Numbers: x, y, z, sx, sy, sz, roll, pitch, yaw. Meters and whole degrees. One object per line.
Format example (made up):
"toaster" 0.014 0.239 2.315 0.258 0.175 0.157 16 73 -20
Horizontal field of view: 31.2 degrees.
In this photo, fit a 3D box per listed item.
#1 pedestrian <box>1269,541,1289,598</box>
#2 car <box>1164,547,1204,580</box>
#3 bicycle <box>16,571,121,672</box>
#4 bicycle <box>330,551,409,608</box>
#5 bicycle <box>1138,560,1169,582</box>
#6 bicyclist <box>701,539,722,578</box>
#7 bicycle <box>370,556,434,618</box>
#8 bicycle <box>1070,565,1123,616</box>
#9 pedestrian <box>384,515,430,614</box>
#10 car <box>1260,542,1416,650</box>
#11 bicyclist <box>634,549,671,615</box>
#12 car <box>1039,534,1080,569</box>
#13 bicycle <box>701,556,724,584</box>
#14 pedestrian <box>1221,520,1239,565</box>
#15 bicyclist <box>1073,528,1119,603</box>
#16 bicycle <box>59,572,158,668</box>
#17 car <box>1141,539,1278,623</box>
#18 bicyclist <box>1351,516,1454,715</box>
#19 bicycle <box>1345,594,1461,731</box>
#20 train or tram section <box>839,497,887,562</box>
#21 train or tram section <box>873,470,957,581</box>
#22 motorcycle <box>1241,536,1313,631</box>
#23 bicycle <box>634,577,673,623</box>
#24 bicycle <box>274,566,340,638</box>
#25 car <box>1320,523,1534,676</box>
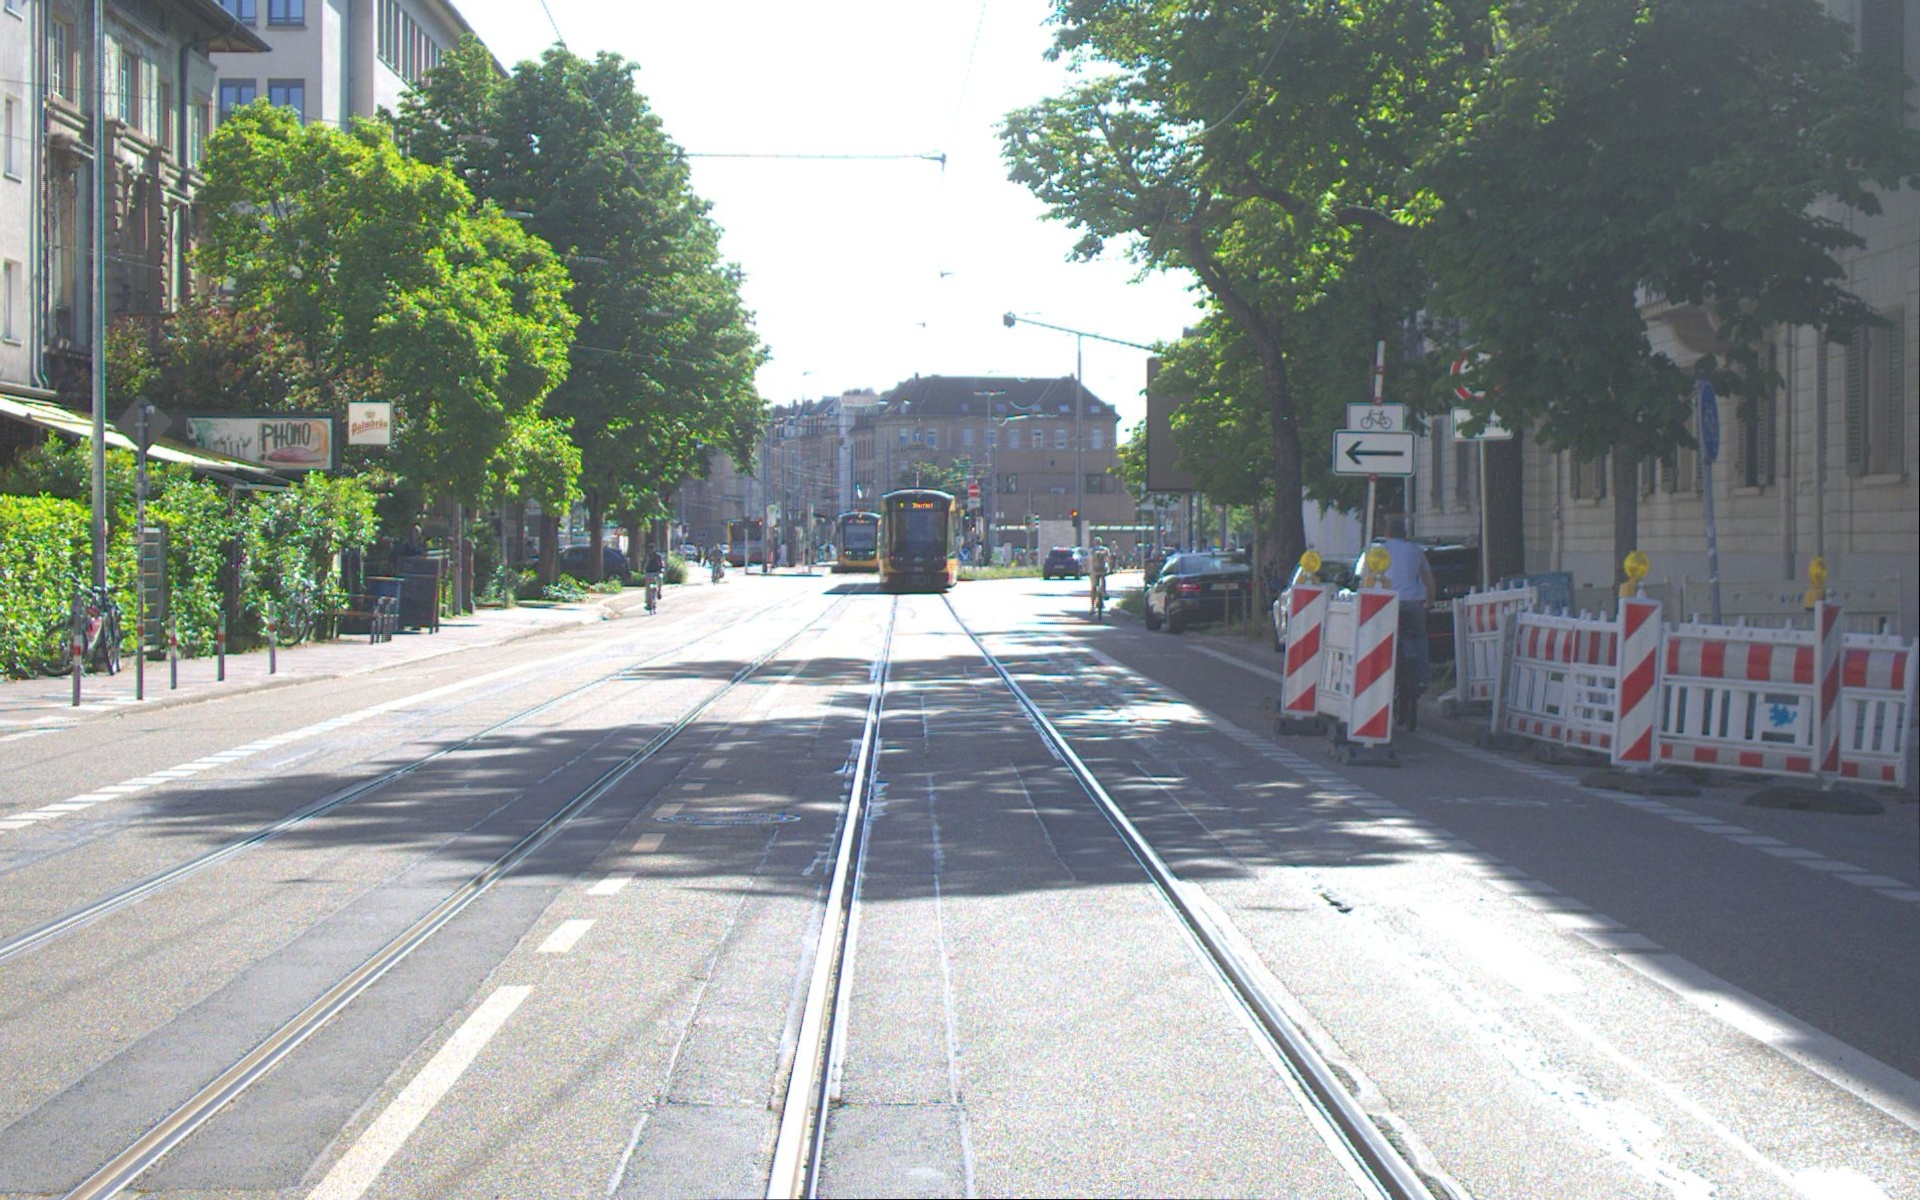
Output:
"pedestrian" 8.866 -0.855 95.660 0.518 1.595 0.764 0 1 2
"car" 10.812 -1.761 166.022 1.789 1.506 3.712 2 1 2
"bicycle" -10.071 0.234 38.883 0.661 1.086 1.840 3 0 0
"bicycle" -11.019 -0.392 64.190 0.637 1.042 2.020 1 1 16
"bicycle" 9.461 -1.424 168.098 0.706 1.051 2.311 3 2 24
"bicyclist" -10.516 -1.764 145.760 0.687 1.639 1.237 -2 1 3
"bicycle" -10.678 -0.260 65.790 0.646 1.139 1.904 3 1 7
"bicycle" 3.087 -0.227 77.819 0.705 1.101 1.715 2 2 19
"pedestrian" -10.280 -0.663 63.923 0.576 1.825 0.689 1 1 18
"car" 5.213 -0.087 47.851 1.724 1.377 4.356 -1 1 1
"bicyclist" -7.643 -0.446 85.501 0.745 1.594 1.118 -3 1 1
"car" 4.772 -2.317 164.744 1.789 1.599 3.712 2 1 4
"bicycle" -10.499 -1.279 145.785 0.687 1.120 1.931 -2 1 3
"pedestrian" 11.570 -2.450 147.334 0.637 1.897 1.134 -2 1 1
"bicyclist" 3.076 -0.780 77.721 0.705 1.669 1.100 2 2 19
"bicycle" -10.111 0.229 40.865 0.661 1.086 1.840 3 0 0
"car" 4.611 -0.381 64.163 1.821 1.453 4.819 -2 1 -4
"bicyclist" 3.824 0.125 29.752 0.738 1.680 0.972 2 1 1
"bicycle" 3.813 0.520 29.727 0.738 1.090 2.111 2 1 1
"train or tram section" -5.684 -4.160 201.754 2.742 3.639 13.787 0 1 -2
"train or tram section" -1.650 -2.620 120.450 2.742 3.639 13.787 0 1 -2
"motorcycle" 5.157 -0.279 56.035 0.913 1.483 2.679 -2 1 1
"bicycle" -7.623 -0.002 85.508 0.745 1.078 1.899 -3 1 1
"bicycle" -10.135 0.019 53.368 0.638 1.055 1.743 3 1 0
"car" 5.357 -0.049 39.942 1.810 1.620 4.584 -2 1 0
